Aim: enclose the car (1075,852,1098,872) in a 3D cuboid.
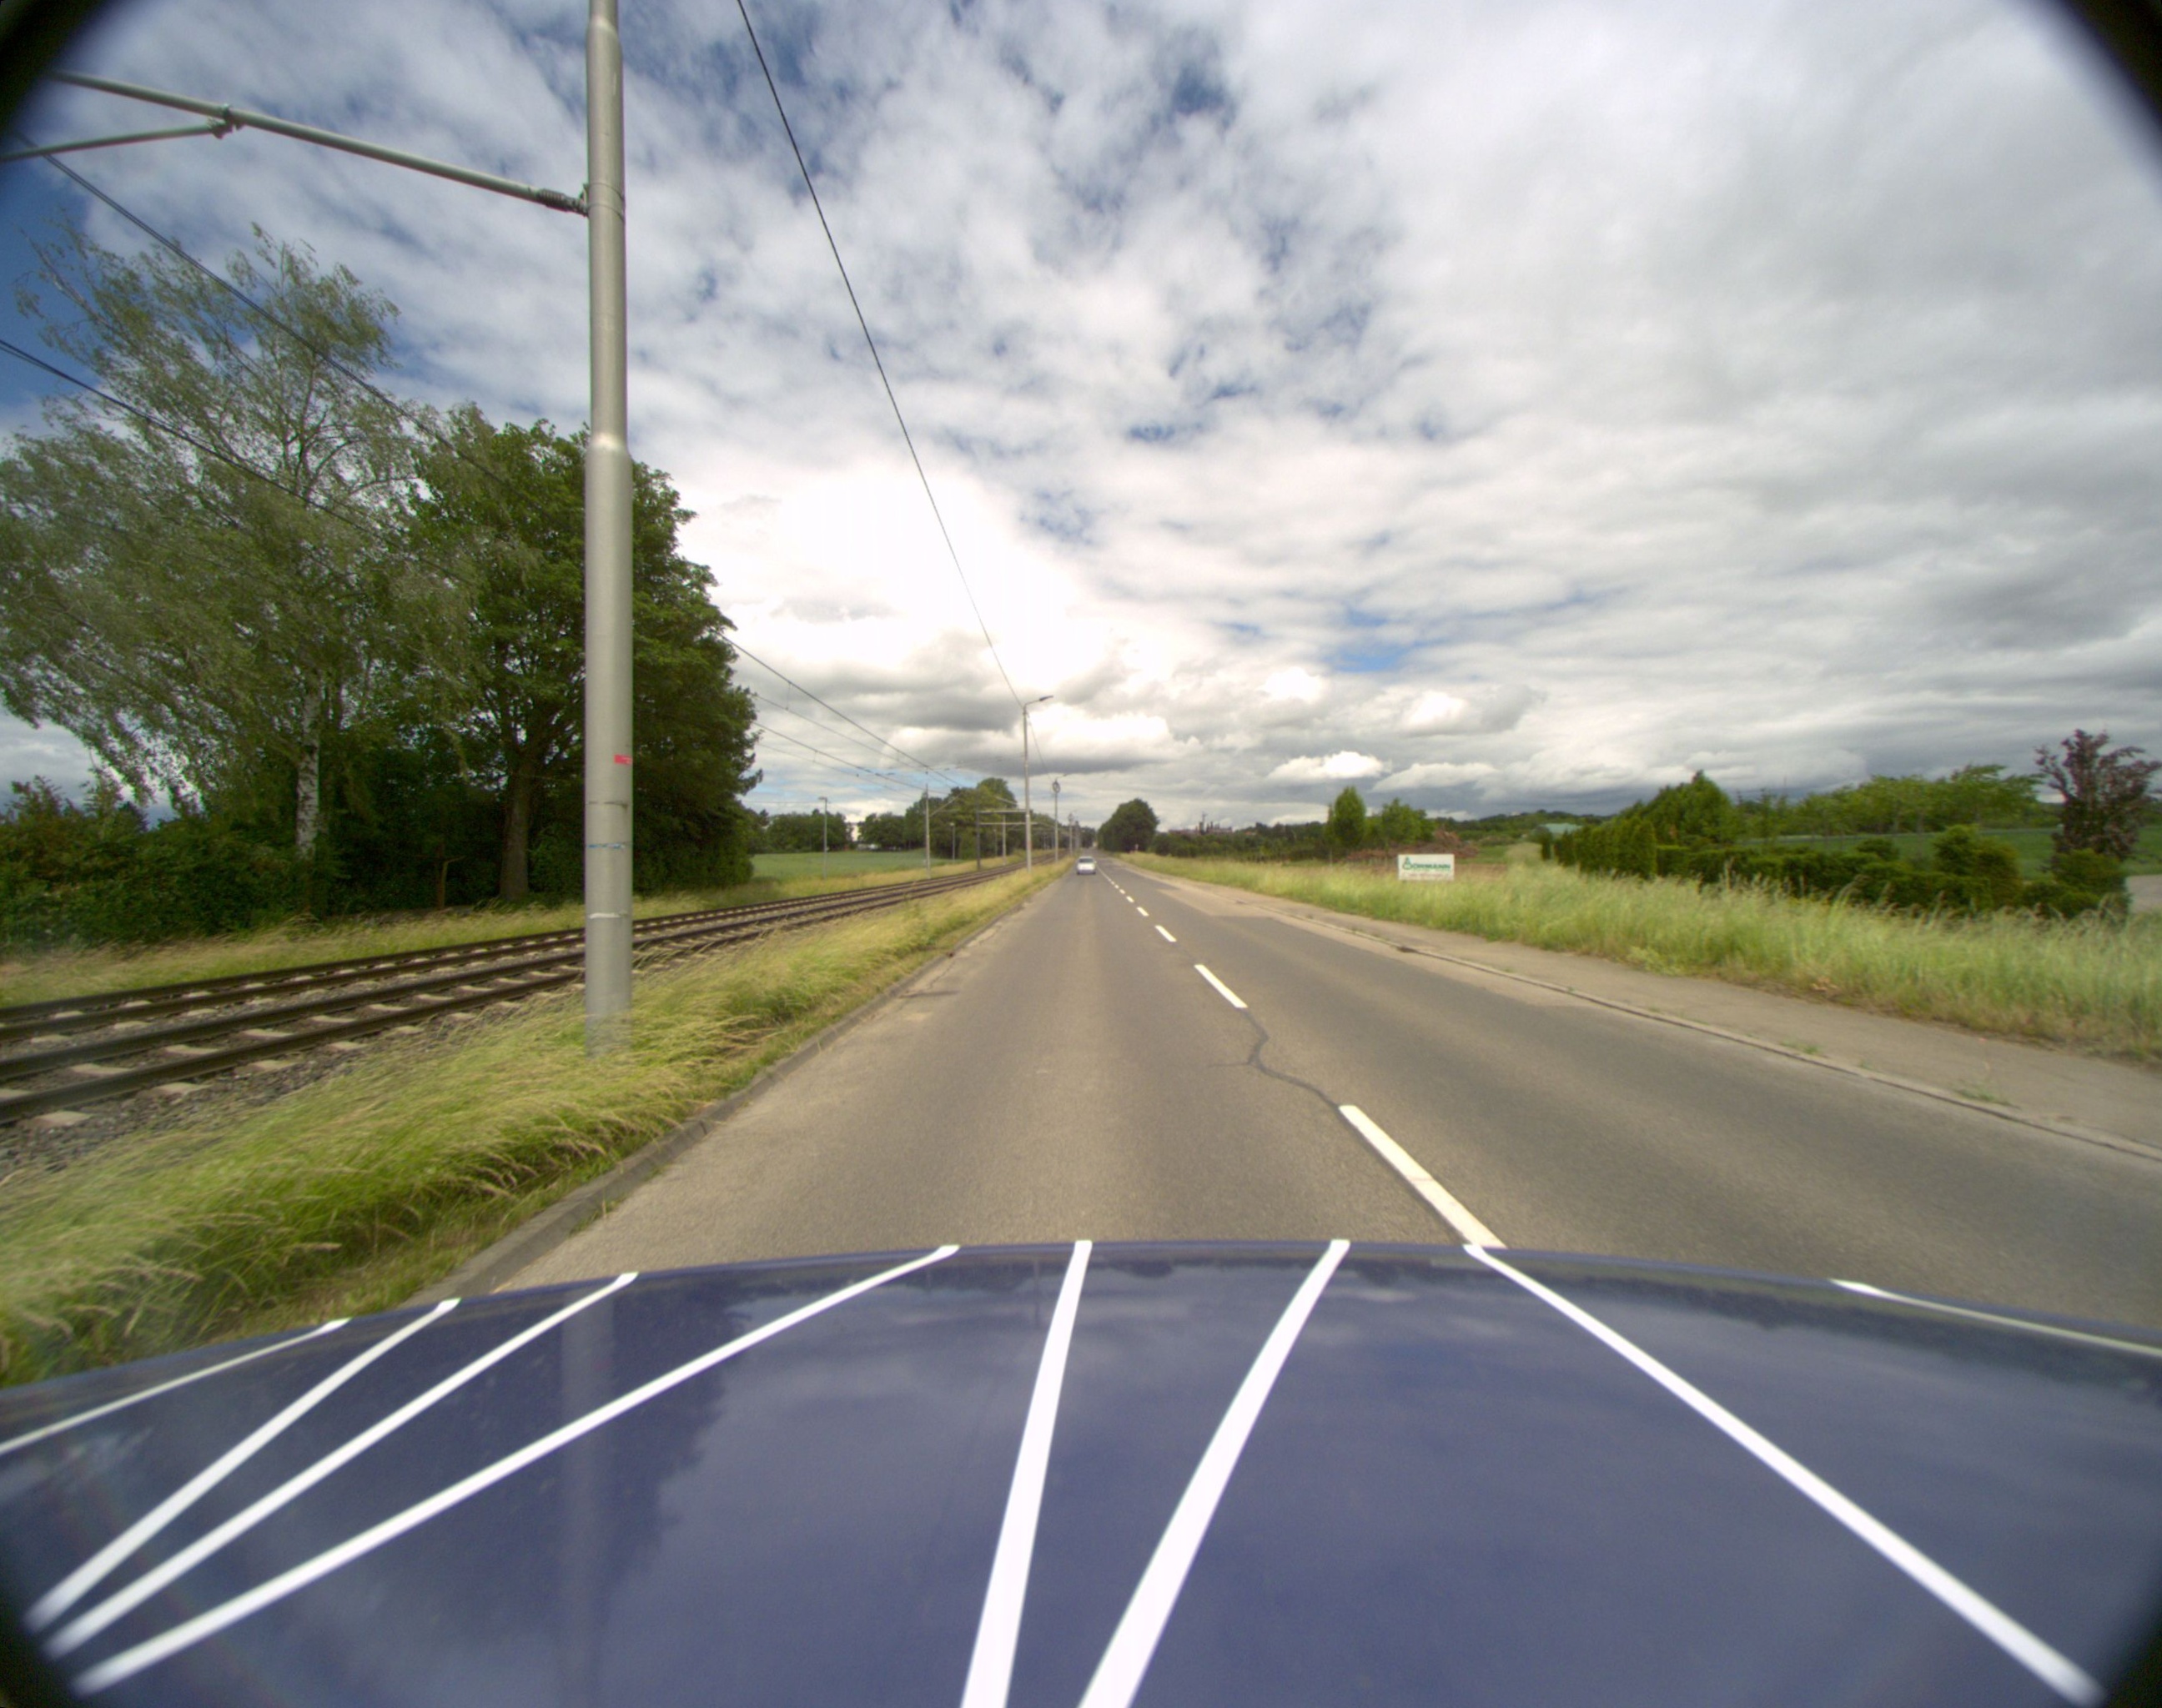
[{"bbox_3d":[0.444,0.702,69.496,1.999,1.679,3.999,-1,1,-1],"label":"car"}]
